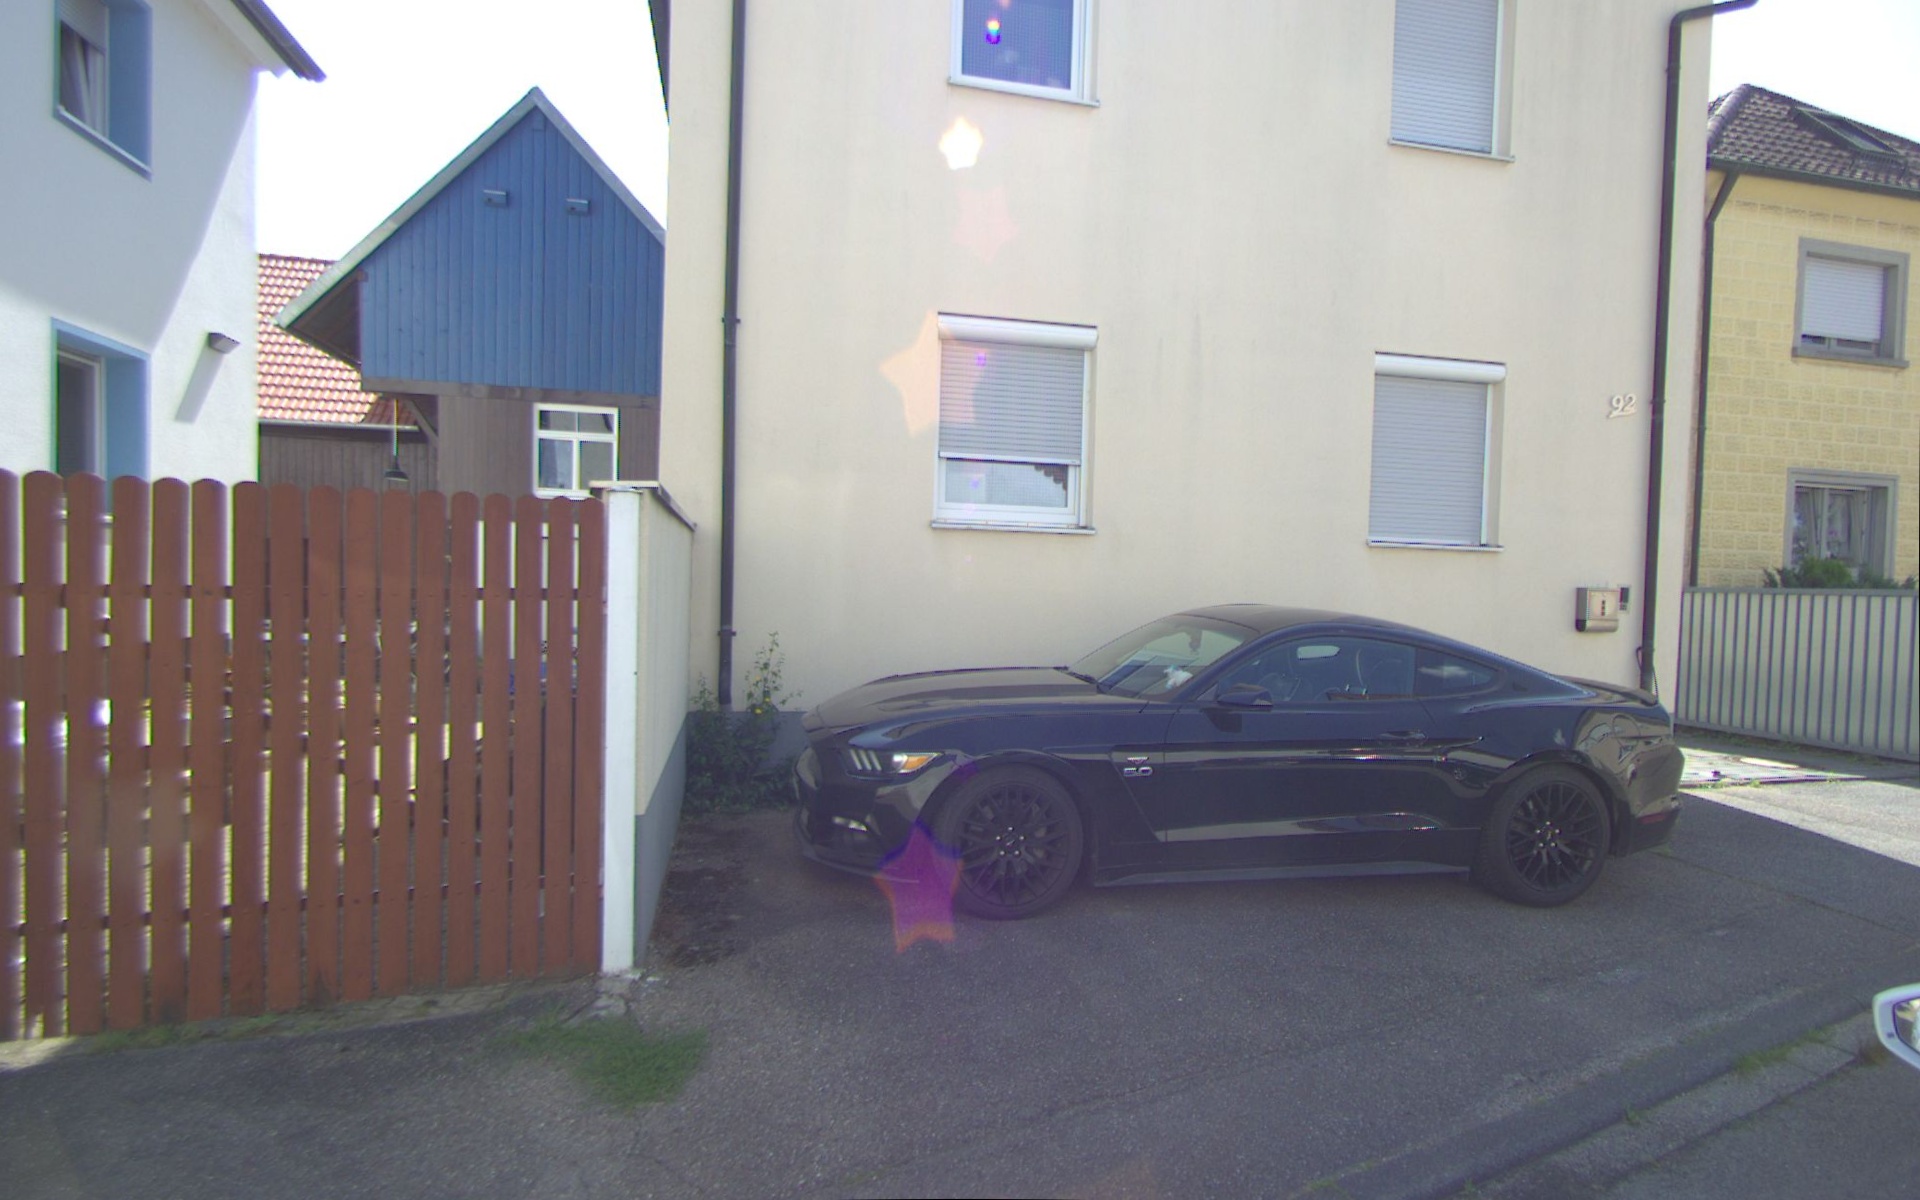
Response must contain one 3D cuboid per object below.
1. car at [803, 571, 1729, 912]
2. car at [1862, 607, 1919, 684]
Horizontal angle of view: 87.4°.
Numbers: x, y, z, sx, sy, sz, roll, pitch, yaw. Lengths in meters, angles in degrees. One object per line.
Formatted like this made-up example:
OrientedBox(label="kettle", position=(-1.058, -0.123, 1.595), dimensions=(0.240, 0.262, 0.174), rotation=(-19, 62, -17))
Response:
OrientedBox(label="car", position=(1.442, 0.644, 5.375), dimensions=(4.392, 1.367, 1.771), rotation=(2, 2, -12))
OrientedBox(label="car", position=(20.028, 0.981, 19.104), dimensions=(1.756, 1.505, 4.473), rotation=(2, 1, 1))
